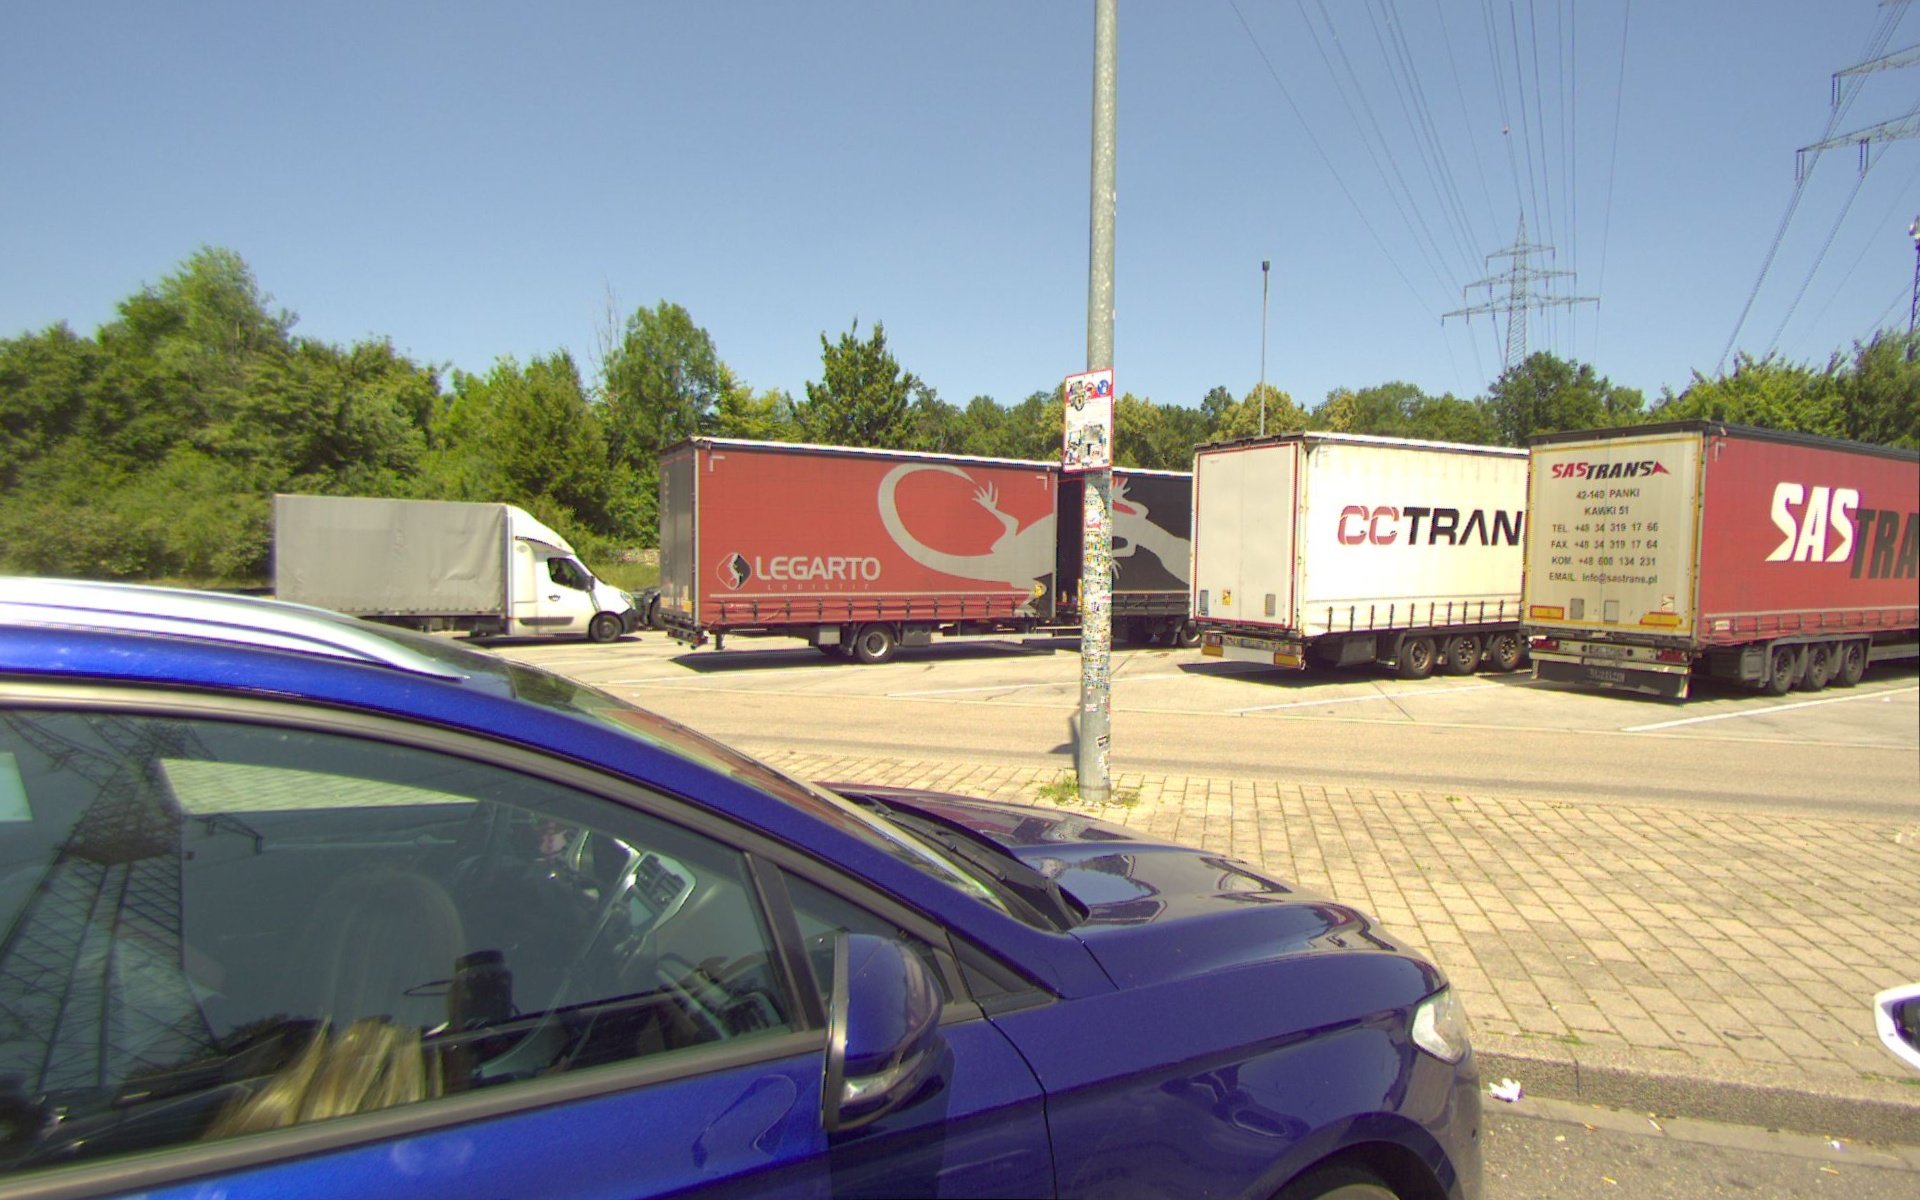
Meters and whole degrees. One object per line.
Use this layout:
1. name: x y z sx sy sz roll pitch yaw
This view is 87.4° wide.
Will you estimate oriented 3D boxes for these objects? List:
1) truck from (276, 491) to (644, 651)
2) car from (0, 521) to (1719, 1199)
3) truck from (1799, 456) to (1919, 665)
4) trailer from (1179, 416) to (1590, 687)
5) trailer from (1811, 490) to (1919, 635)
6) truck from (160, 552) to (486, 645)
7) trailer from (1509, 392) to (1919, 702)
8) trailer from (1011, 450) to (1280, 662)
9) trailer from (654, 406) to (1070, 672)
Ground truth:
1. truck: -11.076 -0.559 22.803 7.171 3.194 2.160 0 1 -30
2. car: -0.926 0.664 1.483 4.362 1.437 1.731 1 0 -30
3. truck: 21.433 -0.781 22.053 5.824 4.189 2.792 0 0 -30
4. trailer: 8.151 -0.755 18.878 8.189 4.208 2.741 0 1 -30
5. trailer: 29.983 -0.988 29.160 7.727 4.121 2.265 2 0 14
6. truck: -15.343 -0.025 24.702 6.538 2.040 1.984 0 0 -30
7. trailer: 15.249 -0.700 18.420 13.046 4.276 2.786 0 0 -31
8. trailer: 4.480 -0.923 24.046 6.076 4.504 2.665 0 0 -30
9. trailer: -1.791 -1.014 20.186 7.963 4.510 2.648 0 0 -31
